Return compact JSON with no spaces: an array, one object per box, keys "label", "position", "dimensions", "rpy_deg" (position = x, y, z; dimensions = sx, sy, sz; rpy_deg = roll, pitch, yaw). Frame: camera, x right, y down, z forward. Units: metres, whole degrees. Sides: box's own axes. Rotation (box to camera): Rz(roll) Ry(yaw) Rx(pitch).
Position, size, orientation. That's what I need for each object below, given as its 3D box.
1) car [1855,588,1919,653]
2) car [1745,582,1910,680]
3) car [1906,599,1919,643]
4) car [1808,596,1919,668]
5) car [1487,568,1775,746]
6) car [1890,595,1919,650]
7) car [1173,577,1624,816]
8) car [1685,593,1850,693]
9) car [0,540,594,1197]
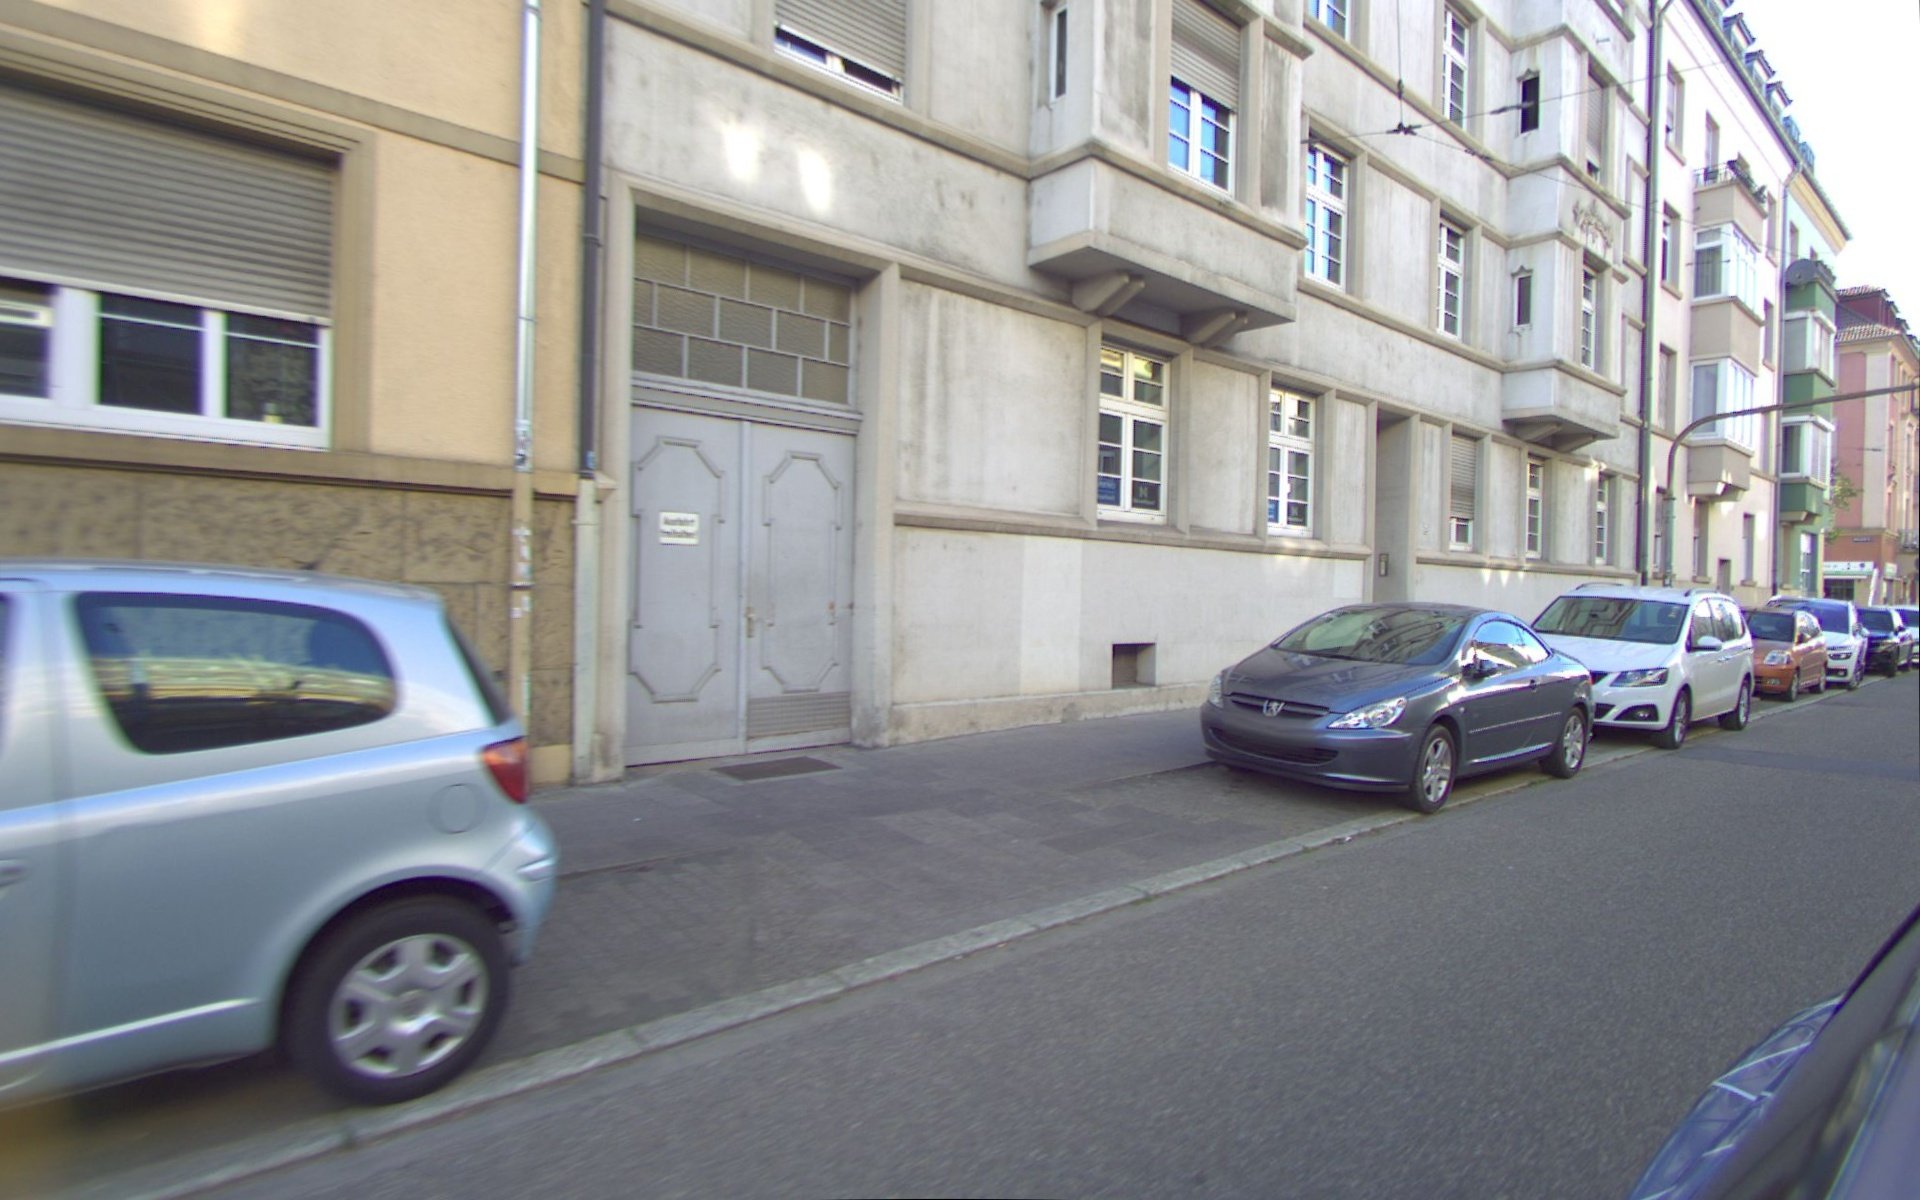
[{"label":"car","position":[25.371,0.525,27.037],"dimensions":[3.891,1.610,1.702],"rpy_deg":[0,1,-41]},{"label":"car","position":[17.317,0.552,20.149],"dimensions":[4.111,1.719,1.703],"rpy_deg":[0,2,-39]},{"label":"car","position":[34.536,0.741,35.331],"dimensions":[3.712,1.492,1.703],"rpy_deg":[0,2,-40]},{"label":"car","position":[21.495,0.695,23.829],"dimensions":[3.794,1.524,1.702],"rpy_deg":[0,1,-40]},{"label":"car","position":[8.156,0.547,12.131],"dimensions":[4.510,1.714,1.712],"rpy_deg":[0,2,-41]},{"label":"car","position":[29.891,0.693,30.926],"dimensions":[3.294,1.610,1.703],"rpy_deg":[0,2,-40]},{"label":"car","position":[3.779,0.605,8.395],"dimensions":[4.130,1.470,1.704],"rpy_deg":[0,2,-39]},{"label":"car","position":[13.992,0.670,17.490],"dimensions":[3.305,1.502,1.570],"rpy_deg":[0,2,-40]},{"label":"car","position":[-2.961,0.574,2.647],"dimensions":[3.418,1.481,1.612],"rpy_deg":[0,2,-40]}]
